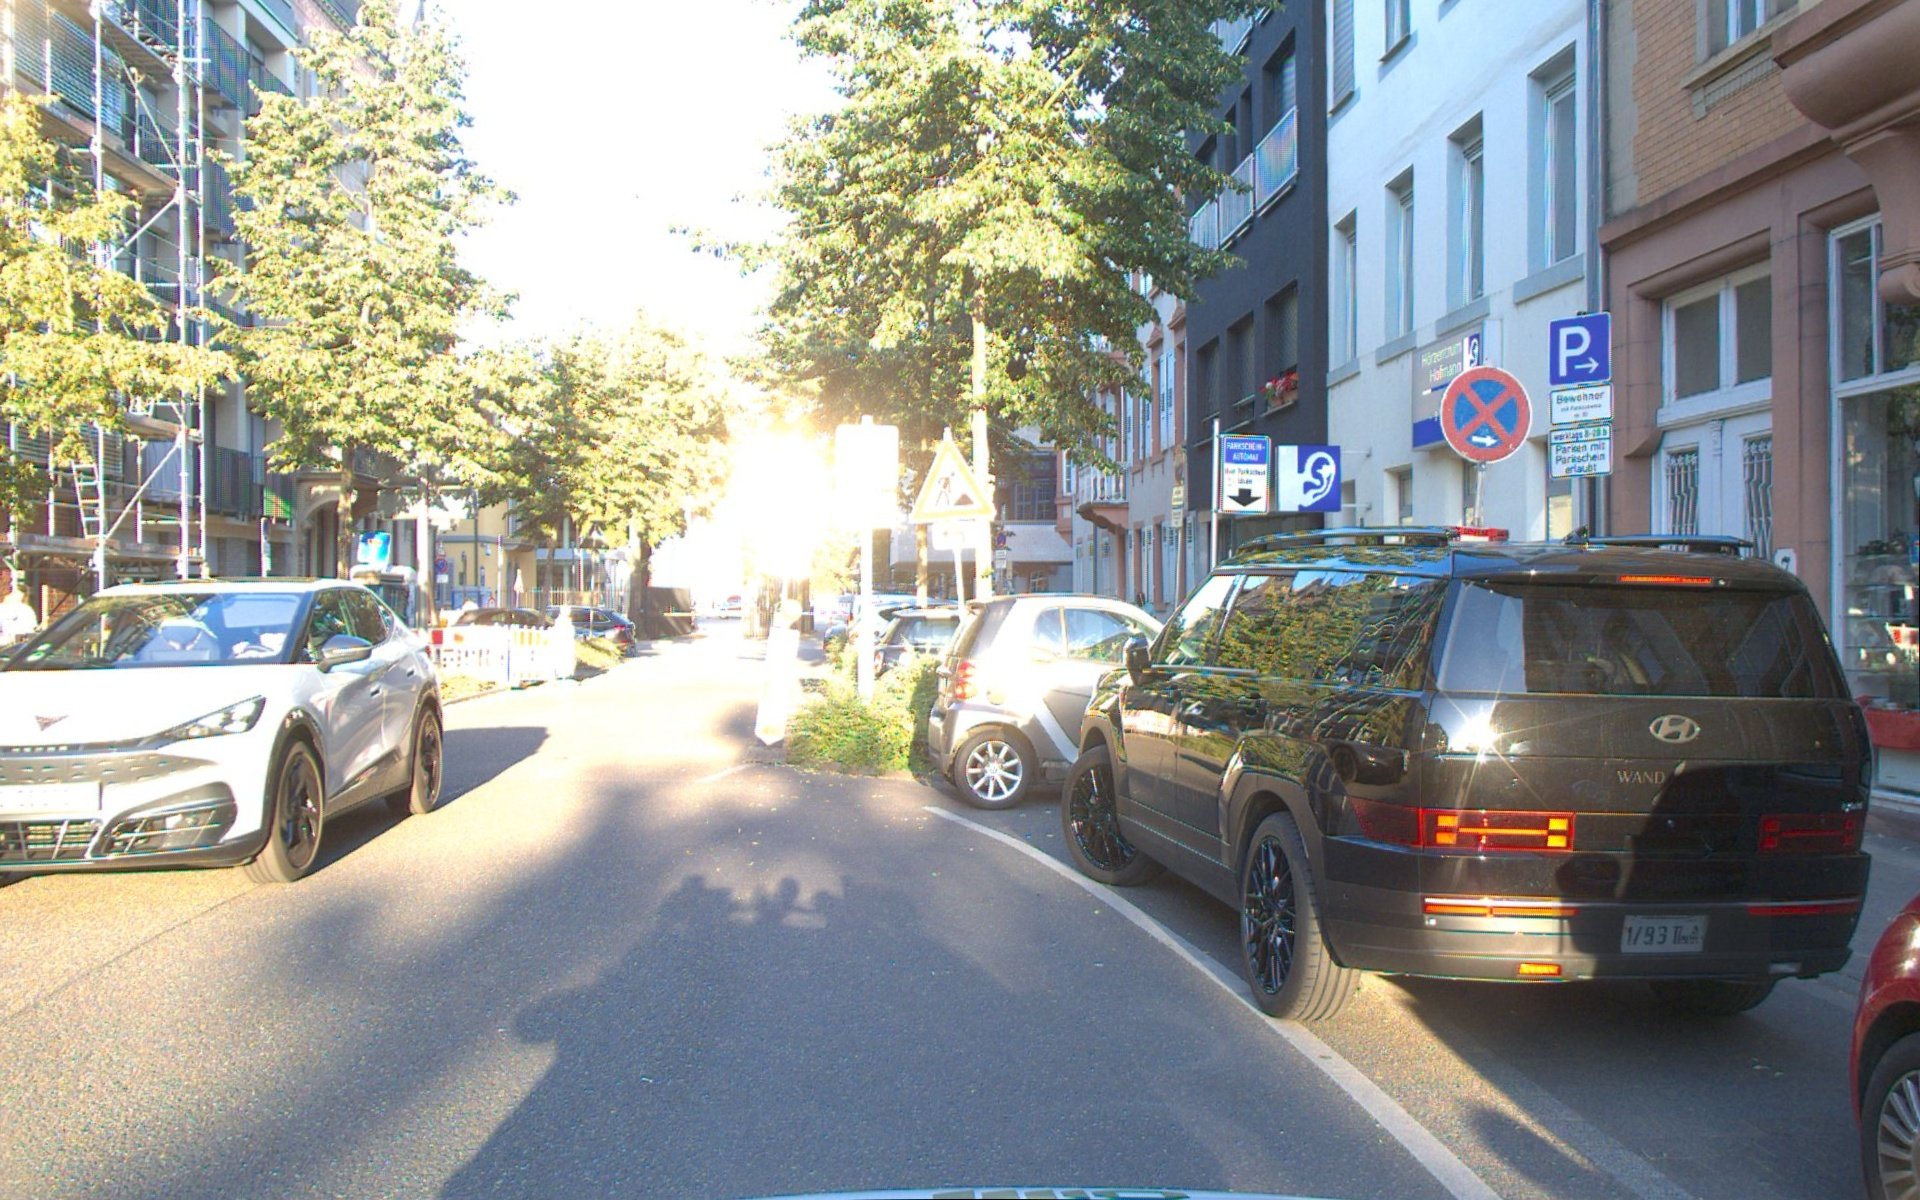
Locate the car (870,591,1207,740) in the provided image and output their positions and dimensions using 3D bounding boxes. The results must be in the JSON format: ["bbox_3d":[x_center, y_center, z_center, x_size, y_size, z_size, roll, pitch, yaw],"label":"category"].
[{"bbox_3d":[0.895,0.780,20.444,3.918,1.699,1.856,1,0,-6],"label":"car"}]

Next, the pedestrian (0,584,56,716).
[{"bbox_3d":[-13.175,0.686,23.110,0.727,1.814,0.656,-1,0,-5],"label":"pedestrian"}]

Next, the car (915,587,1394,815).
[{"bbox_3d":[1.456,0.713,12.839,3.409,1.603,1.503,0,0,-12],"label":"car"}]

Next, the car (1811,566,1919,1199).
[{"bbox_3d":[2.977,0.733,2.540,1.495,1.597,3.420,1,0,-2],"label":"car"}]

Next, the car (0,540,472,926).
[{"bbox_3d":[-4.346,0.627,9.763,1.836,1.727,4.318,-2,0,-4],"label":"car"}]

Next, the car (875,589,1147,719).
[{"bbox_3d":[0.654,0.741,23.283,3.613,1.699,1.856,1,0,-6],"label":"car"}]

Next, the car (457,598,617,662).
[{"bbox_3d":[-11.551,0.799,45.386,3.906,1.713,1.890,0,0,-1],"label":"car"}]

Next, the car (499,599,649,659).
[{"bbox_3d":[-11.181,0.821,48.091,3.906,1.713,1.890,0,0,-1],"label":"car"}]

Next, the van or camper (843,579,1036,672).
[{"bbox_3d":[-0.516,0.598,38.651,4.354,2.041,1.856,1,0,-6],"label":"van or camper"}]

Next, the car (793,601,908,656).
[{"bbox_3d":[-3.374,0.874,51.533,1.818,1.595,3.690,1,0,29],"label":"car"}]

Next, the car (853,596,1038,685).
[{"bbox_3d":[-0.338,0.810,33.629,3.613,1.699,1.856,1,0,-6],"label":"car"}]

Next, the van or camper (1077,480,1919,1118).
[{"bbox_3d":[1.894,0.577,7.124,1.854,1.839,4.452,0,0,-9],"label":"van or camper"}]

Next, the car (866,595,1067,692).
[{"bbox_3d":[0.075,0.801,31.135,3.613,1.699,1.856,1,0,-6],"label":"car"}]

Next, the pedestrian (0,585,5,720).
[{"bbox_3d":[-13.293,0.710,22.051,0.726,1.814,0.656,-1,0,-3],"label":"pedestrian"}]
